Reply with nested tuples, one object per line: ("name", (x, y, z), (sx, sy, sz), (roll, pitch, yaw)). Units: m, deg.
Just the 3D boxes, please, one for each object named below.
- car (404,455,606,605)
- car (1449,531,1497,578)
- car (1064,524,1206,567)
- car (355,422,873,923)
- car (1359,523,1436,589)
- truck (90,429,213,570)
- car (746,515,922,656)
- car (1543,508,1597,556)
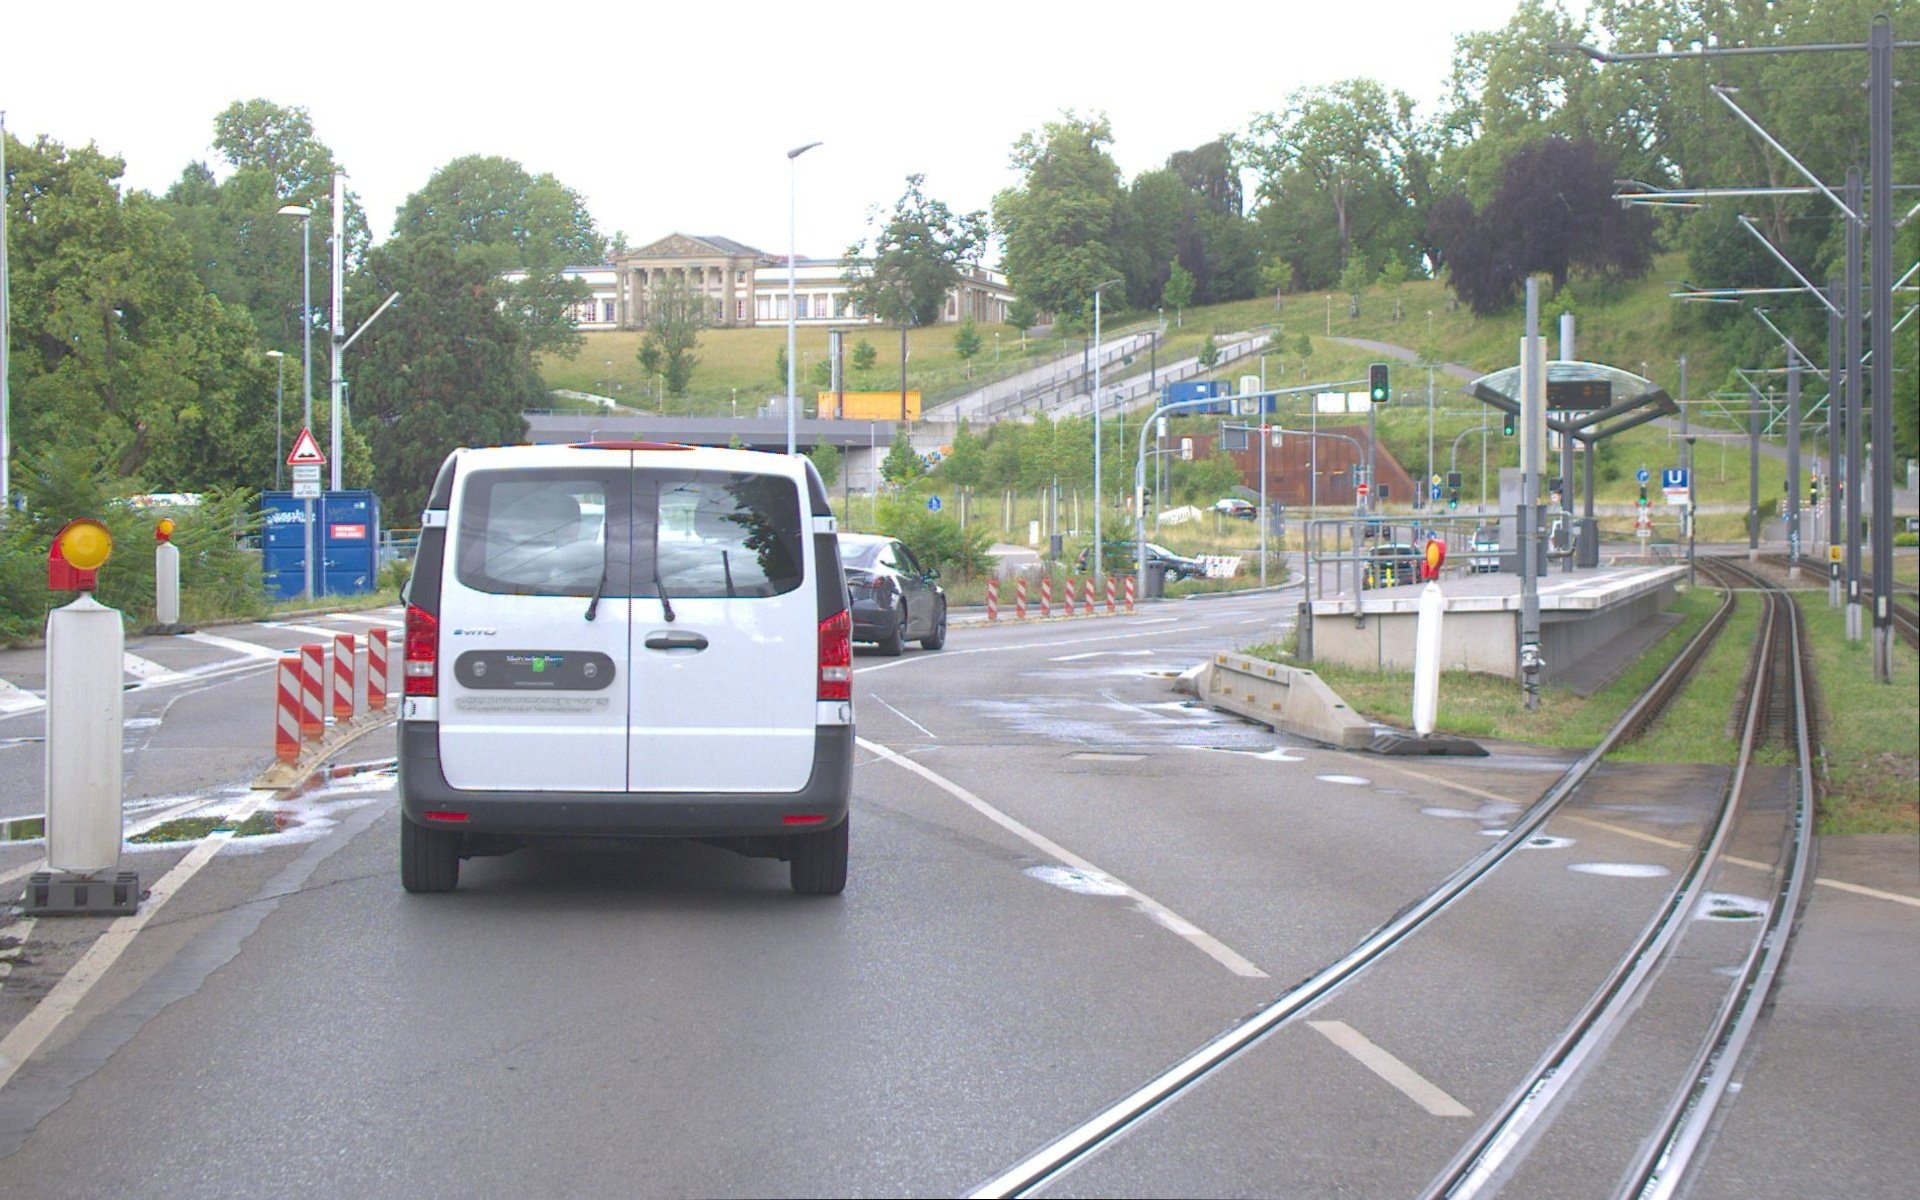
("car", (-5.643, -0.930, 43.168), (1.863, 1.776, 4.749), (0, 2, 0))
("car", (20.416, -1.818, 136.706), (1.753, 1.766, 3.999), (3, 1, 9))
("car", (6.354, -1.970, 124.830), (4.715, 1.472, 1.998), (0, 2, 24))
("car", (-1.394, 0.224, 15.473), (1.959, 1.897, 4.462), (1, 1, -2))
("car", (12.611, -1.283, 98.853), (1.994, 1.766, 3.999), (3, 1, 9))
("truck", (-20.460, -2.553, 86.771), (2.791, 3.324, 8.481), (-2, 2, -14))
("car", (-1.483, -0.219, 41.869), (1.838, 1.577, 4.062), (2, 1, 2))
("car", (26.702, -2.970, 150.673), (2.201, 2.007, 5.149), (1, 1, 9))
